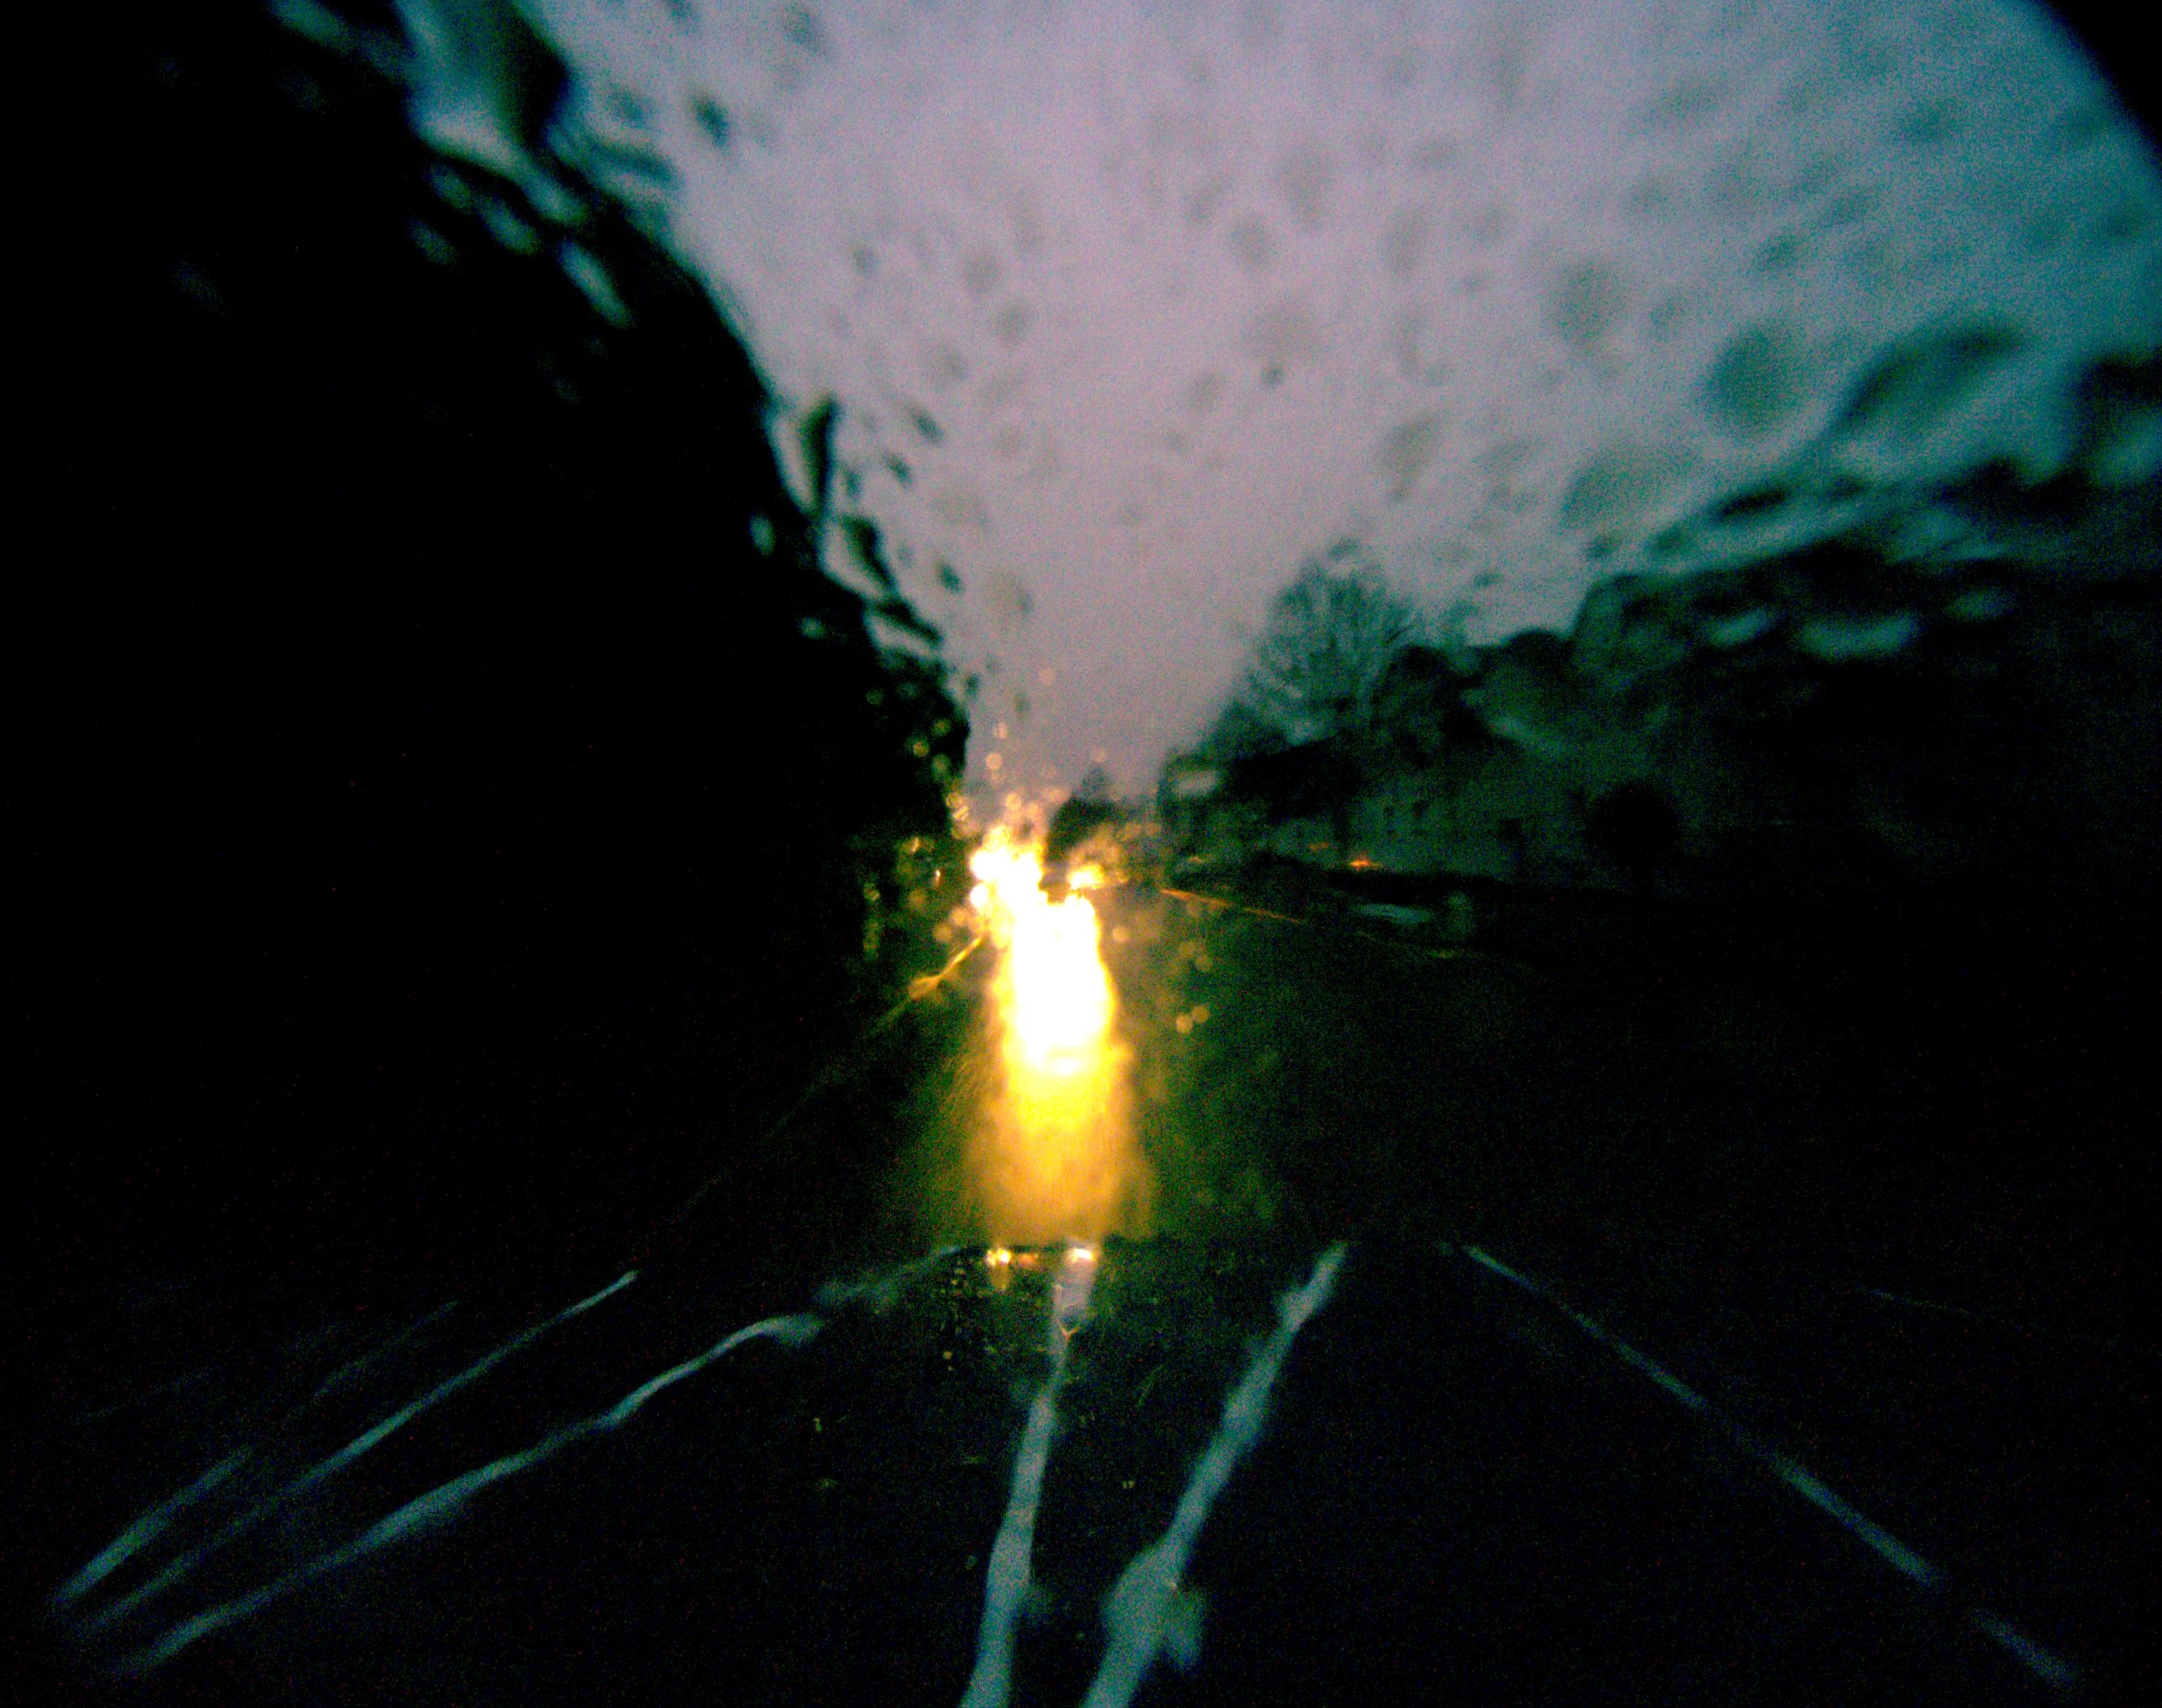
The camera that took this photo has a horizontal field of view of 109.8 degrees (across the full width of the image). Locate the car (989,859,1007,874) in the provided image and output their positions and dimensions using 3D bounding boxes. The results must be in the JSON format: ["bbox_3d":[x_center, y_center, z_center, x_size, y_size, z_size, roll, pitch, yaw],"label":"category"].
[{"bbox_3d":[-9.674,1.467,88.466,1.777,1.608,3.868,-2,0,-11],"label":"car"}]

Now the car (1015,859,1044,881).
[{"bbox_3d":[-4.028,1.208,58.984,2.000,1.660,3.998,-1,0,-7],"label":"car"}]

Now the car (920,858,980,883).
[{"bbox_3d":[-9.448,1.166,55.012,4.115,1.696,1.998,-1,1,-9],"label":"car"}]

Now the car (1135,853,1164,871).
[{"bbox_3d":[6.721,0.792,75.123,2.000,1.745,4.565,-1,0,-7],"label":"car"}]

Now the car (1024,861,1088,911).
[{"bbox_3d":[-0.913,1.027,25.837,1.999,1.575,3.999,0,-1,-4],"label":"car"}]

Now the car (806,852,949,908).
[{"bbox_3d":[-6.664,0.852,25.319,4.337,1.722,1.999,2,-1,-8],"label":"car"}]
